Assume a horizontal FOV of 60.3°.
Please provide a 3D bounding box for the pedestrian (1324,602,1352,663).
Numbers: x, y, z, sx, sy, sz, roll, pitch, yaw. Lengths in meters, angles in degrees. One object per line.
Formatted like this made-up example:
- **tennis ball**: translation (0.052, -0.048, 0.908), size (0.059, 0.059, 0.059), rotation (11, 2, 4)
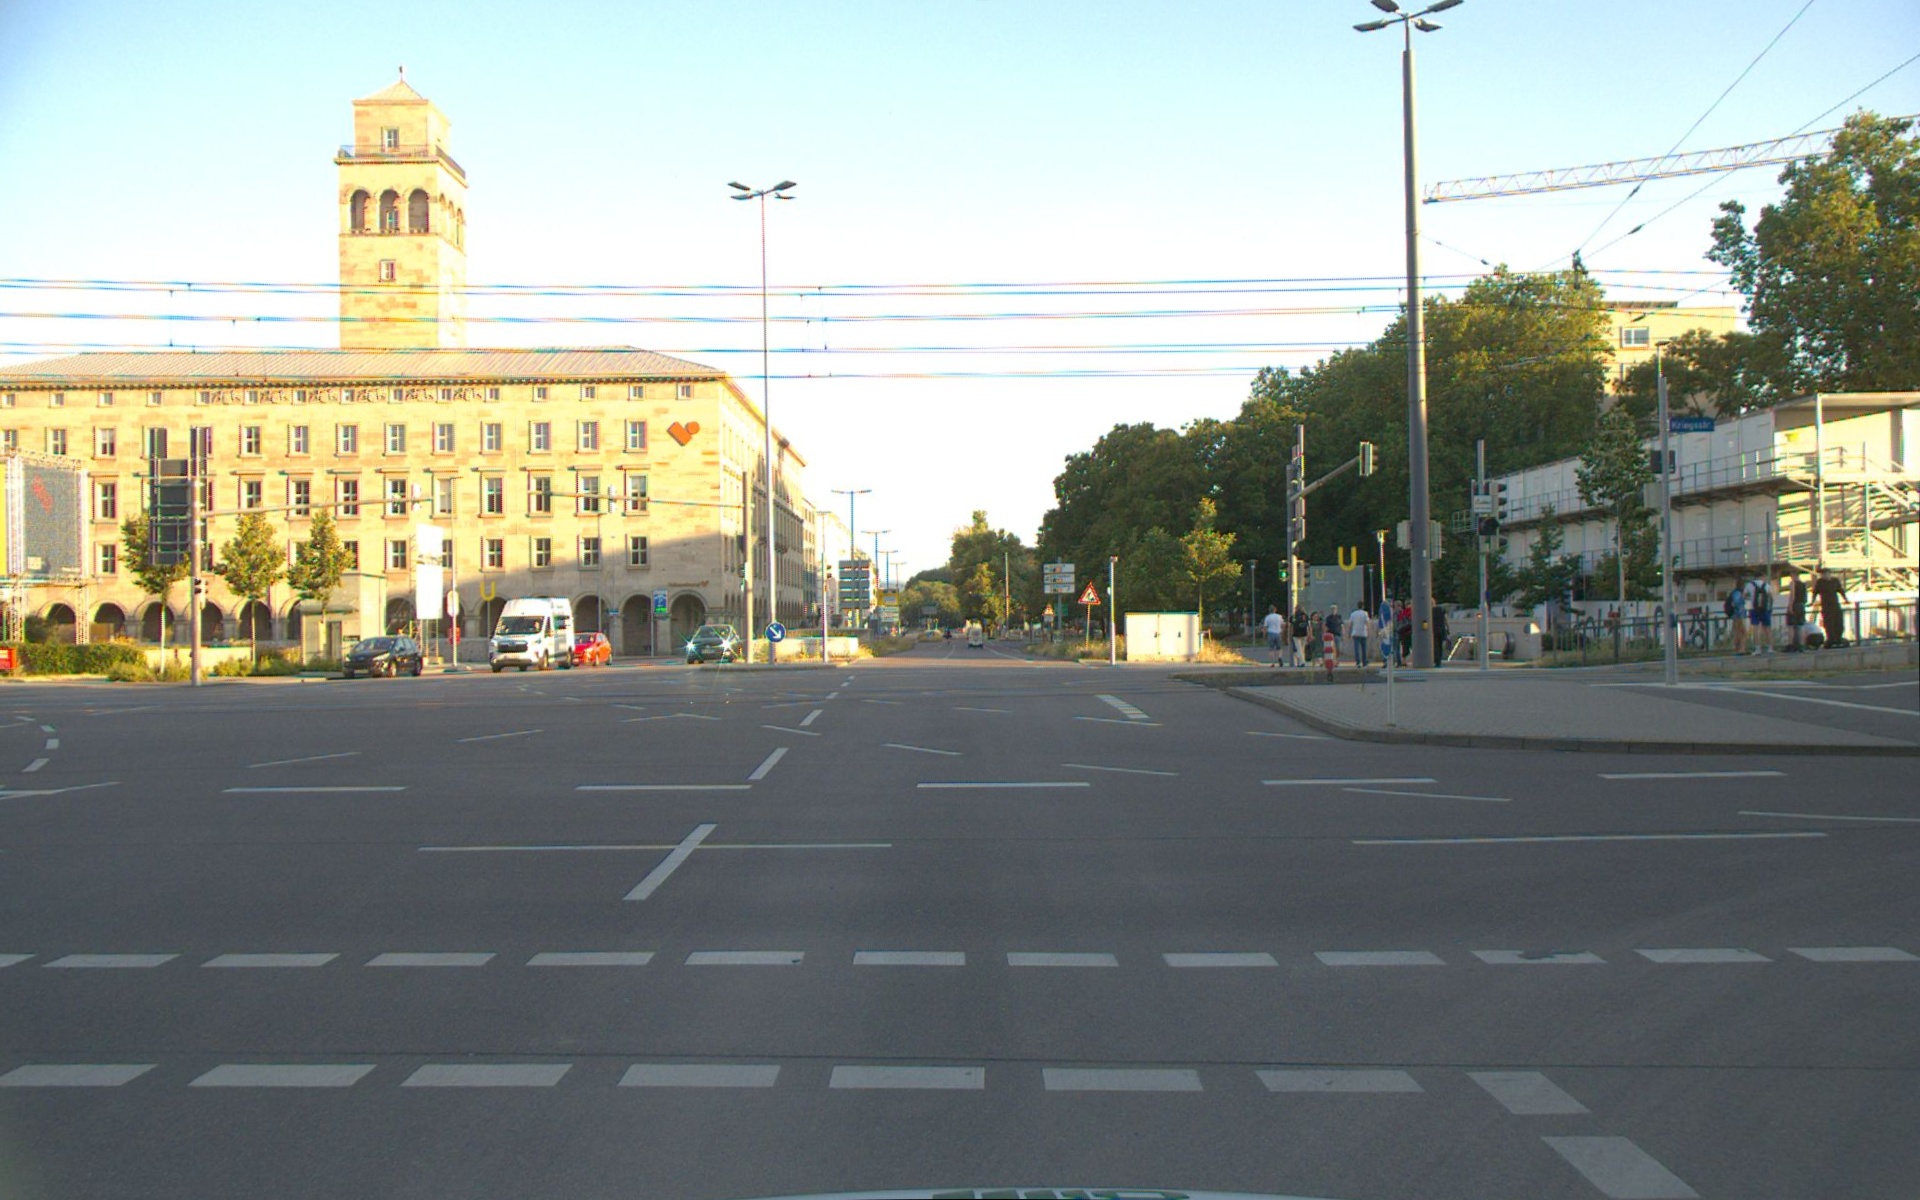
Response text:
- **pedestrian**: translation (11.160, 0.946, 48.806), size (0.665, 1.788, 0.902), rotation (-1, -1, 20)

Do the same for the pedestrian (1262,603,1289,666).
- **pedestrian**: translation (8.944, 0.982, 46.889), size (0.695, 1.755, 0.669), rotation (-1, -1, 12)

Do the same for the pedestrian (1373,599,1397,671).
- **pedestrian**: translation (10.973, 0.900, 42.728), size (0.560, 1.823, 0.639), rotation (-1, -1, 13)

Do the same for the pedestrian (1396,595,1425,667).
- **pedestrian**: translation (11.315, 0.775, 41.551), size (0.688, 1.765, 0.848), rotation (-1, -1, 15)

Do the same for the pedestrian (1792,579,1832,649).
- **pedestrian**: translation (18.205, 0.307, 35.342), size (0.662, 1.466, 0.714), rotation (-1, -1, 21)

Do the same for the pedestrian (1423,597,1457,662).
- **pedestrian**: translation (13.523, 0.824, 46.602), size (0.788, 1.823, 0.801), rotation (-1, -1, 7)

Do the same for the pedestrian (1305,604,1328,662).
- **pedestrian**: translation (10.571, 0.976, 49.040), size (0.548, 1.684, 0.902), rotation (-1, -1, 20)

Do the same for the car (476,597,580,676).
- **car**: translation (-16.347, 1.373, 62.957), size (2.232, 2.825, 6.084), rotation (-1, -1, 1)

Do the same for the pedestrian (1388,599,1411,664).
- **pedestrian**: translation (11.777, 0.839, 44.323), size (0.560, 1.708, 0.639), rotation (-1, -1, 13)

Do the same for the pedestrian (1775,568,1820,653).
- **pedestrian**: translation (17.596, 0.231, 34.773), size (0.696, 1.755, 0.669), rotation (-1, -1, 16)

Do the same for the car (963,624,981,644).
- **car**: translation (1.060, 3.004, 145.479), size (1.453, 1.725, 2.972), rotation (-1, -1, -2)

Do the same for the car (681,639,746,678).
- **car**: translation (-9.382, 2.216, 63.169), size (1.785, 1.365, 4.000), rotation (-1, 0, 1)

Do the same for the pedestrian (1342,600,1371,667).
- **pedestrian**: translation (10.470, 0.880, 43.732), size (0.695, 1.755, 0.916), rotation (-1, -1, 13)

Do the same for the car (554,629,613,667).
- **car**: translation (-16.245, 2.062, 71.507), size (1.703, 1.513, 3.999), rotation (-1, 0, -1)

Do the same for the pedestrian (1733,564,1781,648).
- **pedestrian**: translation (16.833, 0.126, 34.939), size (0.695, 1.755, 0.669), rotation (-1, -1, 8)

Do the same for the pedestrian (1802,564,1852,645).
- **pedestrian**: translation (19.119, 0.095, 36.490), size (0.696, 1.755, 0.668), rotation (-1, -1, -3)

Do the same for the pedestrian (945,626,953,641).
- **pedestrian**: translation (-1.241, 3.754, 185.187), size (0.888, 1.700, 1.306), rotation (-1, -1, -2)

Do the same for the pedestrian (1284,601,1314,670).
- **pedestrian**: translation (8.733, 0.902, 42.607), size (0.695, 1.755, 0.916), rotation (-1, -1, 10)

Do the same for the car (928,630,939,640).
- **car**: translation (-3.592, 4.762, 225.633), size (1.341, 1.256, 3.045), rotation (-1, 0, 1)

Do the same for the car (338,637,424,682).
- **car**: translation (-21.134, 2.155, 60.525), size (1.786, 1.492, 4.156), rotation (-1, 0, -2)

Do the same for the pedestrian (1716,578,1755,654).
- **pedestrian**: translation (16.861, 0.347, 35.982), size (0.559, 1.620, 0.536), rotation (-1, -1, -1)

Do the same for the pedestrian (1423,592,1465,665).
- **pedestrian**: translation (12.348, 0.721, 42.239), size (0.789, 1.823, 0.800), rotation (-1, -1, -2)
